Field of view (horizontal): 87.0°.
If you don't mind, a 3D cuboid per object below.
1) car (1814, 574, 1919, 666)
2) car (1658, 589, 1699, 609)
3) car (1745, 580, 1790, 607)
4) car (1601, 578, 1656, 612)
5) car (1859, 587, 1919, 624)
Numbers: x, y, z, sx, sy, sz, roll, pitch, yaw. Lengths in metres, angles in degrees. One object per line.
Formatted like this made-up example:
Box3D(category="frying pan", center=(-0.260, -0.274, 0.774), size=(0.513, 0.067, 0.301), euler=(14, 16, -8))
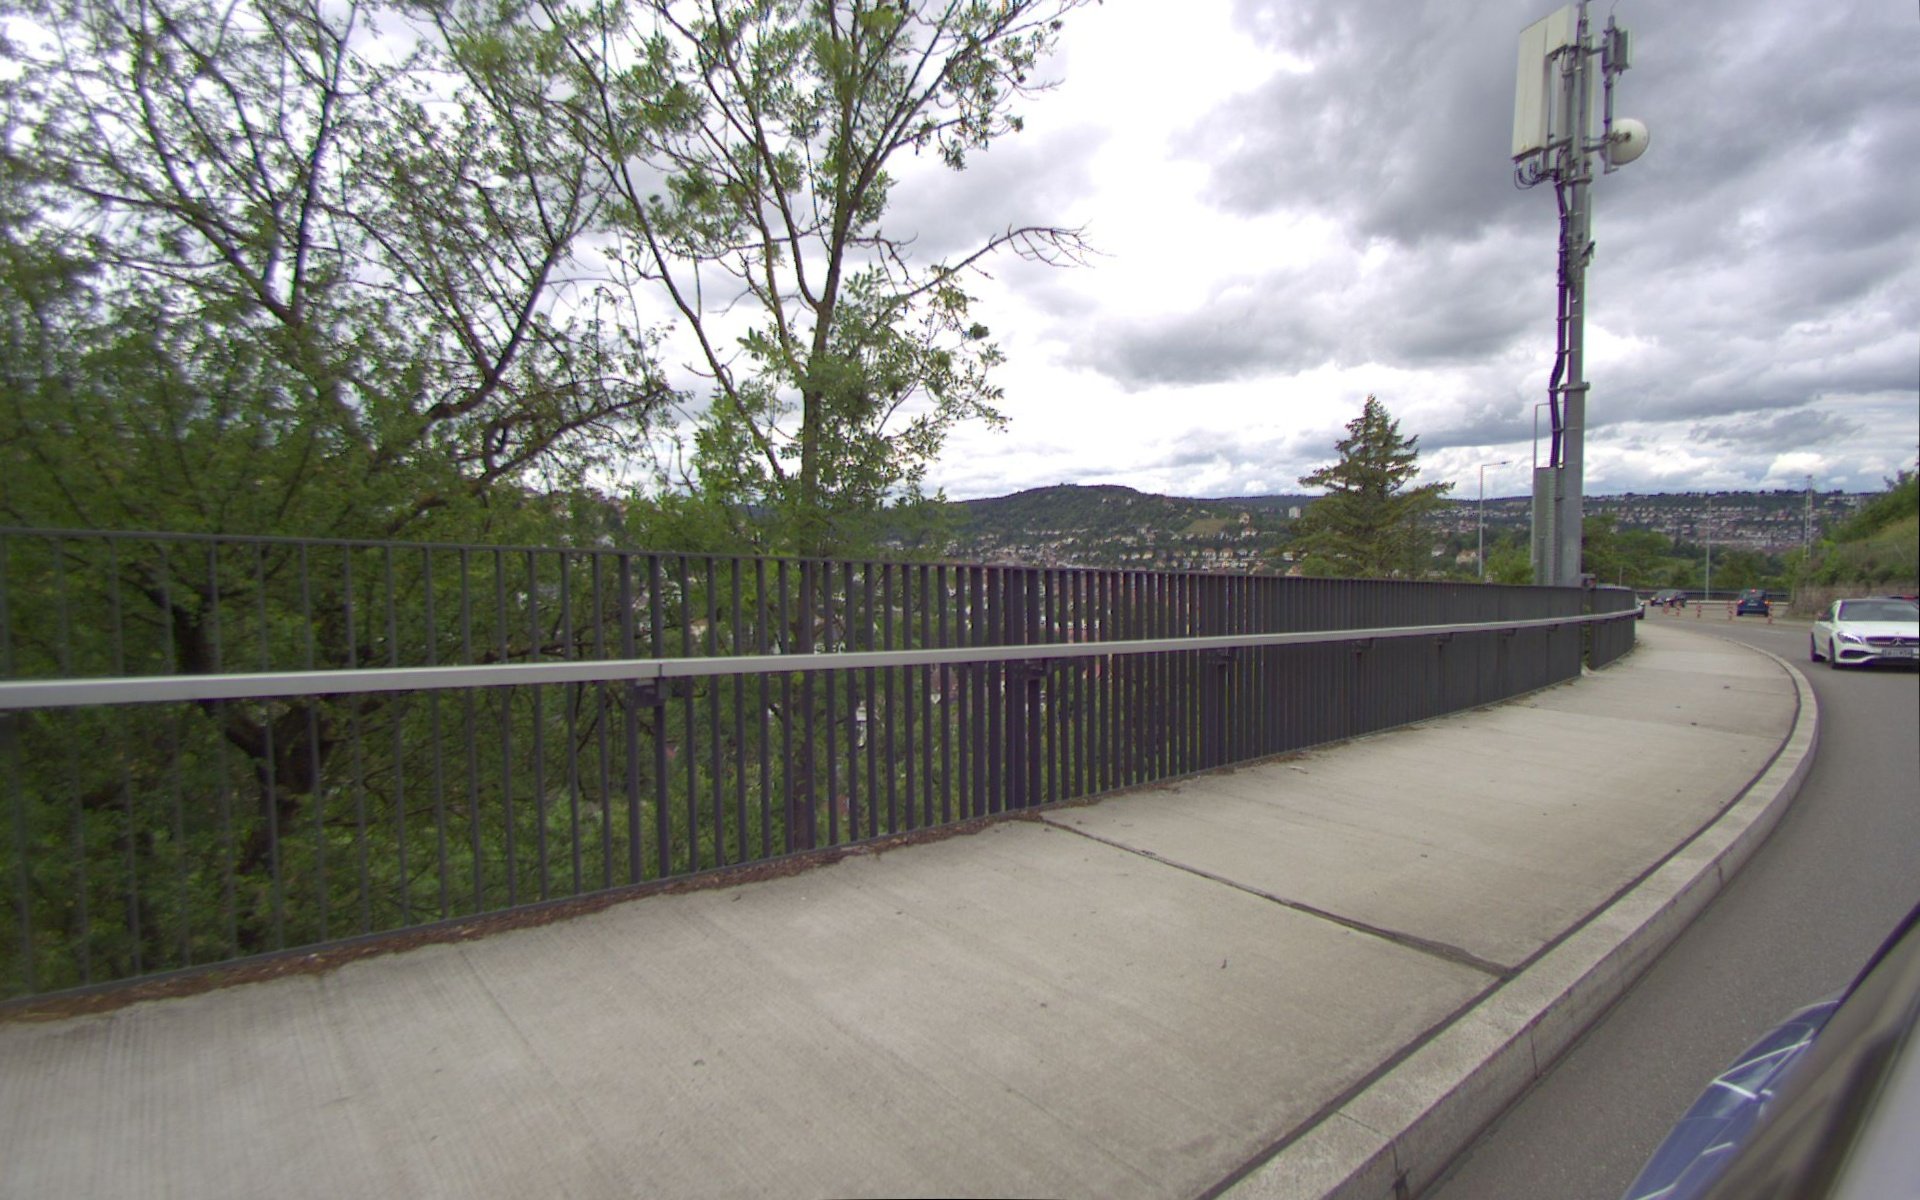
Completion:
Box3D(category="car", center=(19.262, 0.382, 20.966), size=(1.987, 1.740, 3.950), euler=(-1, 0, 35))
Box3D(category="car", center=(61.055, -0.098, 85.933), size=(4.461, 1.692, 1.996), euler=(0, 1, -43))
Box3D(category="car", center=(56.014, -0.453, 70.167), size=(4.655, 1.805, 1.852), euler=(-1, 0, -44))
Box3D(category="car", center=(34.928, -0.285, 53.002), size=(1.982, 1.692, 4.492), euler=(1, 1, 28))
Box3D(category="car", center=(39.980, 0.201, 42.642), size=(1.837, 1.431, 4.378), euler=(-2, 0, 25))
